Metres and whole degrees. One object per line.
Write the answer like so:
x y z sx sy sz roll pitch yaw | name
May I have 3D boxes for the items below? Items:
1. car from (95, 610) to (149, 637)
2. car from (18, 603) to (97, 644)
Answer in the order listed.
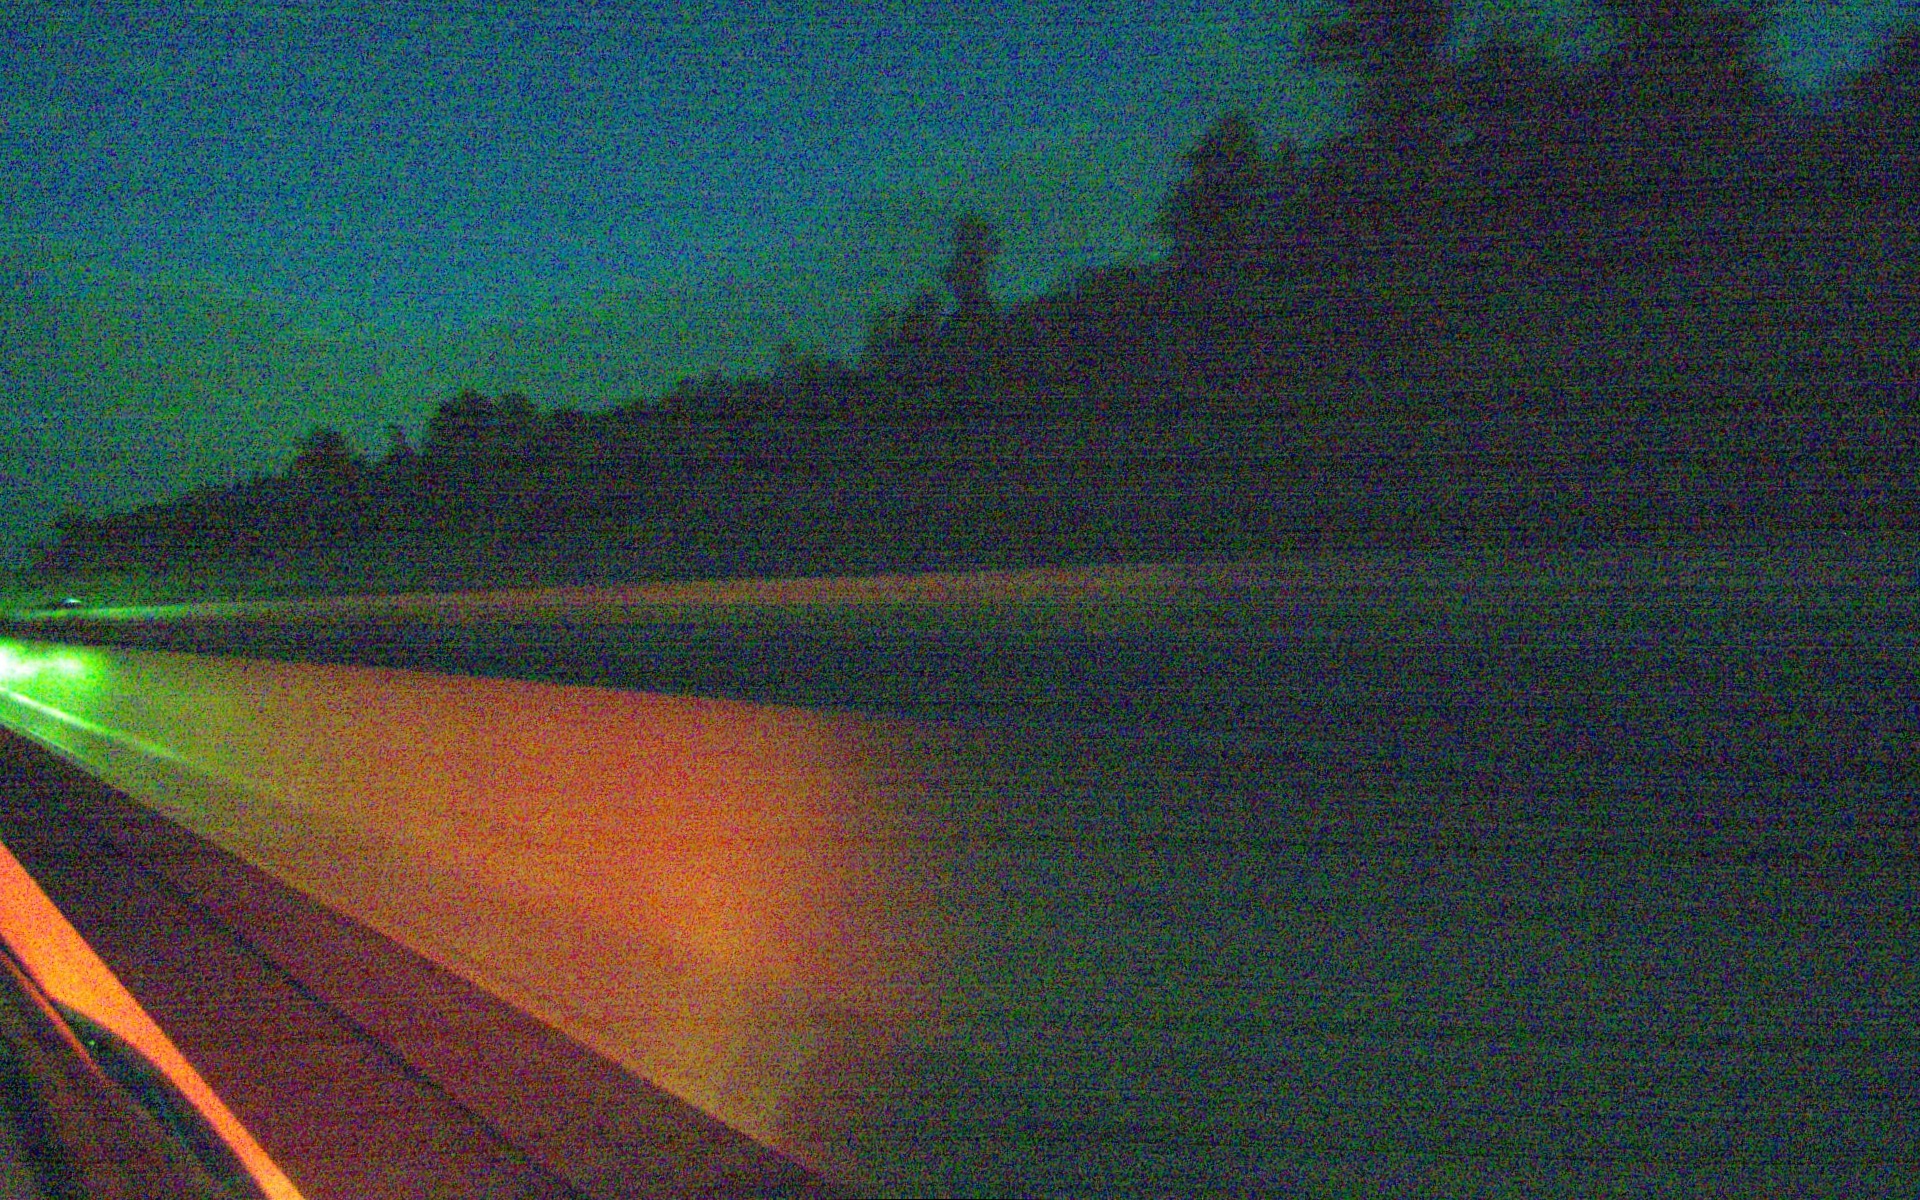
-59.000 1.691 71.208 4.744 1.648 1.973 -3 2 40 | car
-42.041 1.117 47.102 4.744 1.648 1.973 -3 2 40 | car
